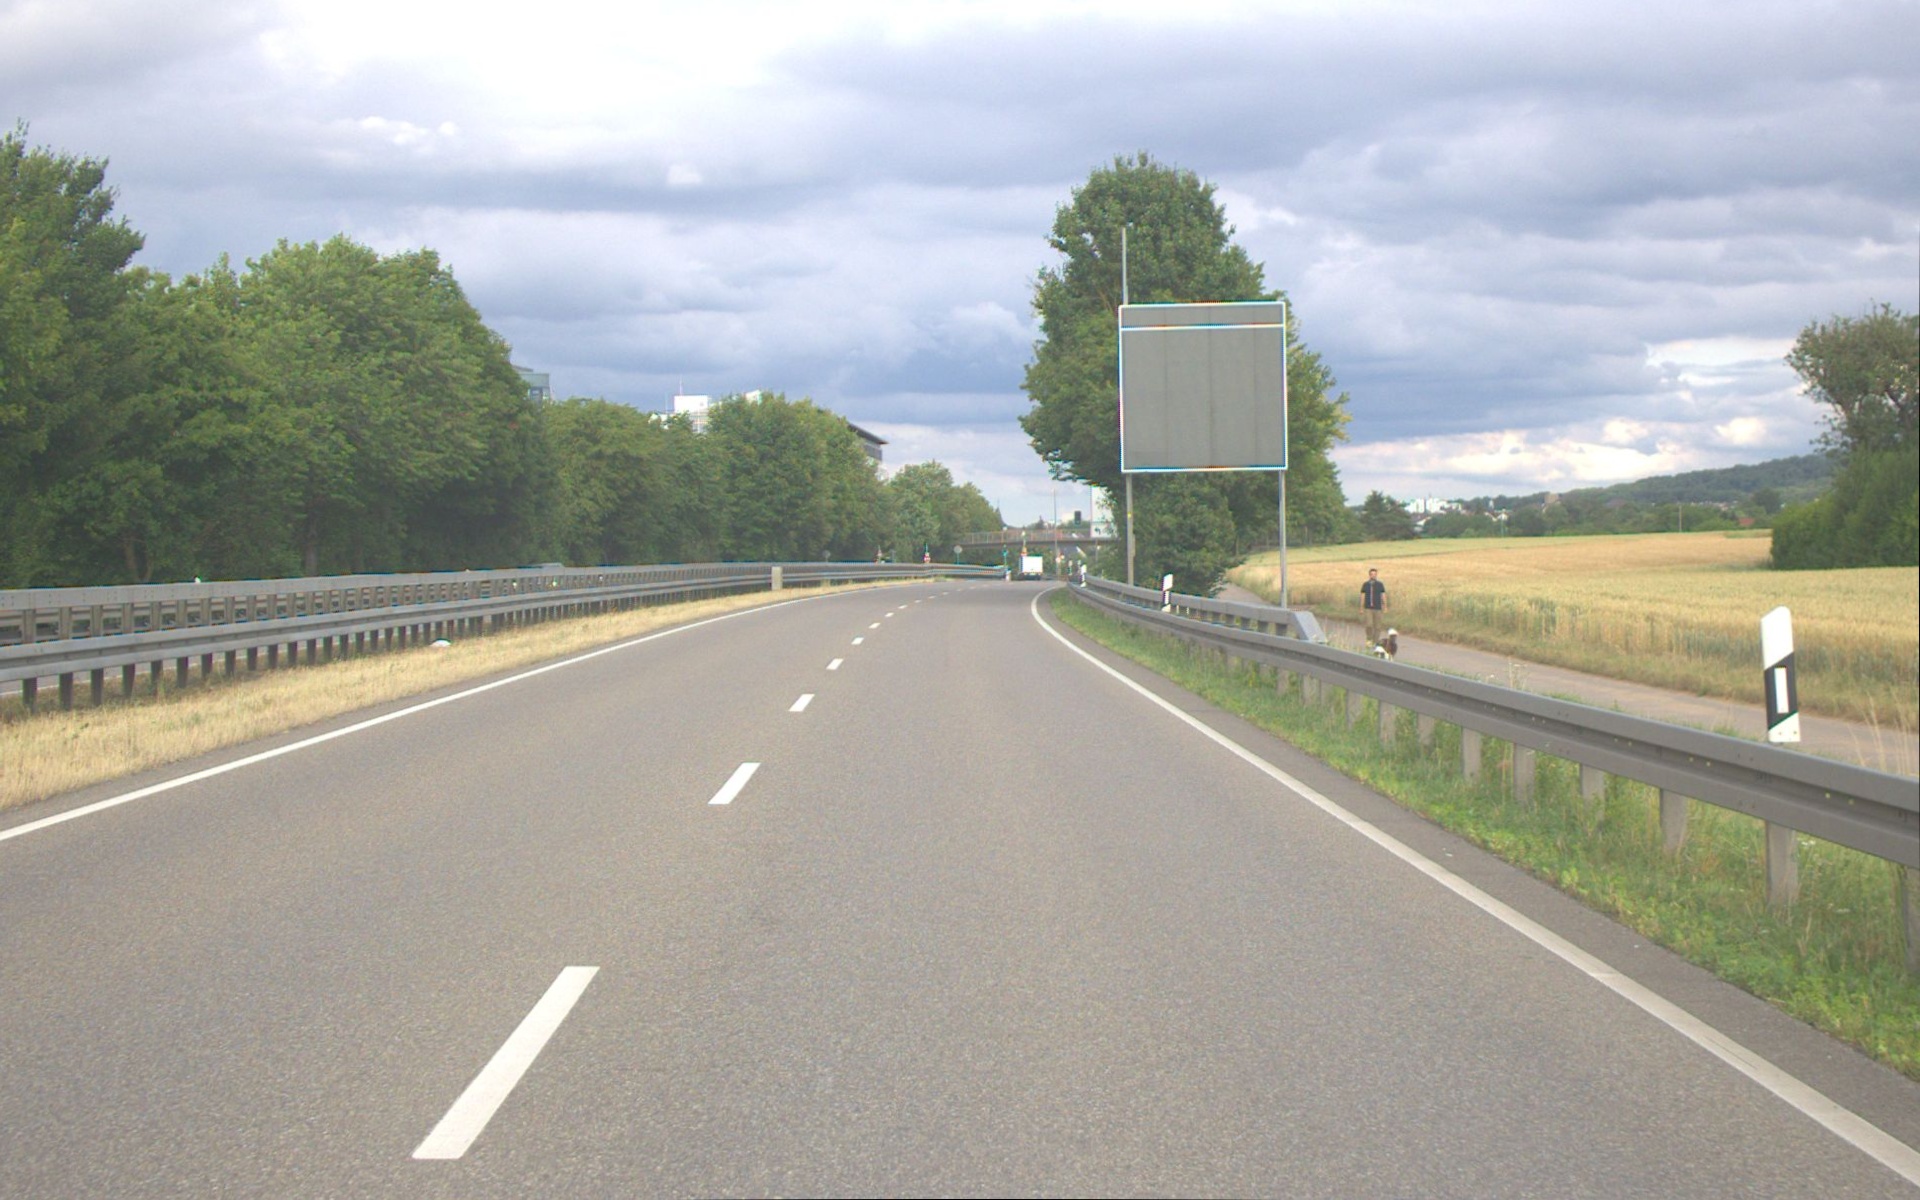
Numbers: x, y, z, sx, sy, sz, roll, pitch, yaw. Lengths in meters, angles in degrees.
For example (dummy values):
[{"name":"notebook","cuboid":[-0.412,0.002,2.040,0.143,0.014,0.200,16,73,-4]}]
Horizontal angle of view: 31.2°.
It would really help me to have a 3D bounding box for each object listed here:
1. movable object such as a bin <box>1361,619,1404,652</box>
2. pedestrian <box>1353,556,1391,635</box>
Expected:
[{"name":"movable object such as a bin","cuboid":[8.862,0.739,72.095,0.732,0.643,1.235,1,0,0]},{"name":"pedestrian","cuboid":[9.882,-0.117,82.493,0.771,1.861,0.940,1,0,0]}]
